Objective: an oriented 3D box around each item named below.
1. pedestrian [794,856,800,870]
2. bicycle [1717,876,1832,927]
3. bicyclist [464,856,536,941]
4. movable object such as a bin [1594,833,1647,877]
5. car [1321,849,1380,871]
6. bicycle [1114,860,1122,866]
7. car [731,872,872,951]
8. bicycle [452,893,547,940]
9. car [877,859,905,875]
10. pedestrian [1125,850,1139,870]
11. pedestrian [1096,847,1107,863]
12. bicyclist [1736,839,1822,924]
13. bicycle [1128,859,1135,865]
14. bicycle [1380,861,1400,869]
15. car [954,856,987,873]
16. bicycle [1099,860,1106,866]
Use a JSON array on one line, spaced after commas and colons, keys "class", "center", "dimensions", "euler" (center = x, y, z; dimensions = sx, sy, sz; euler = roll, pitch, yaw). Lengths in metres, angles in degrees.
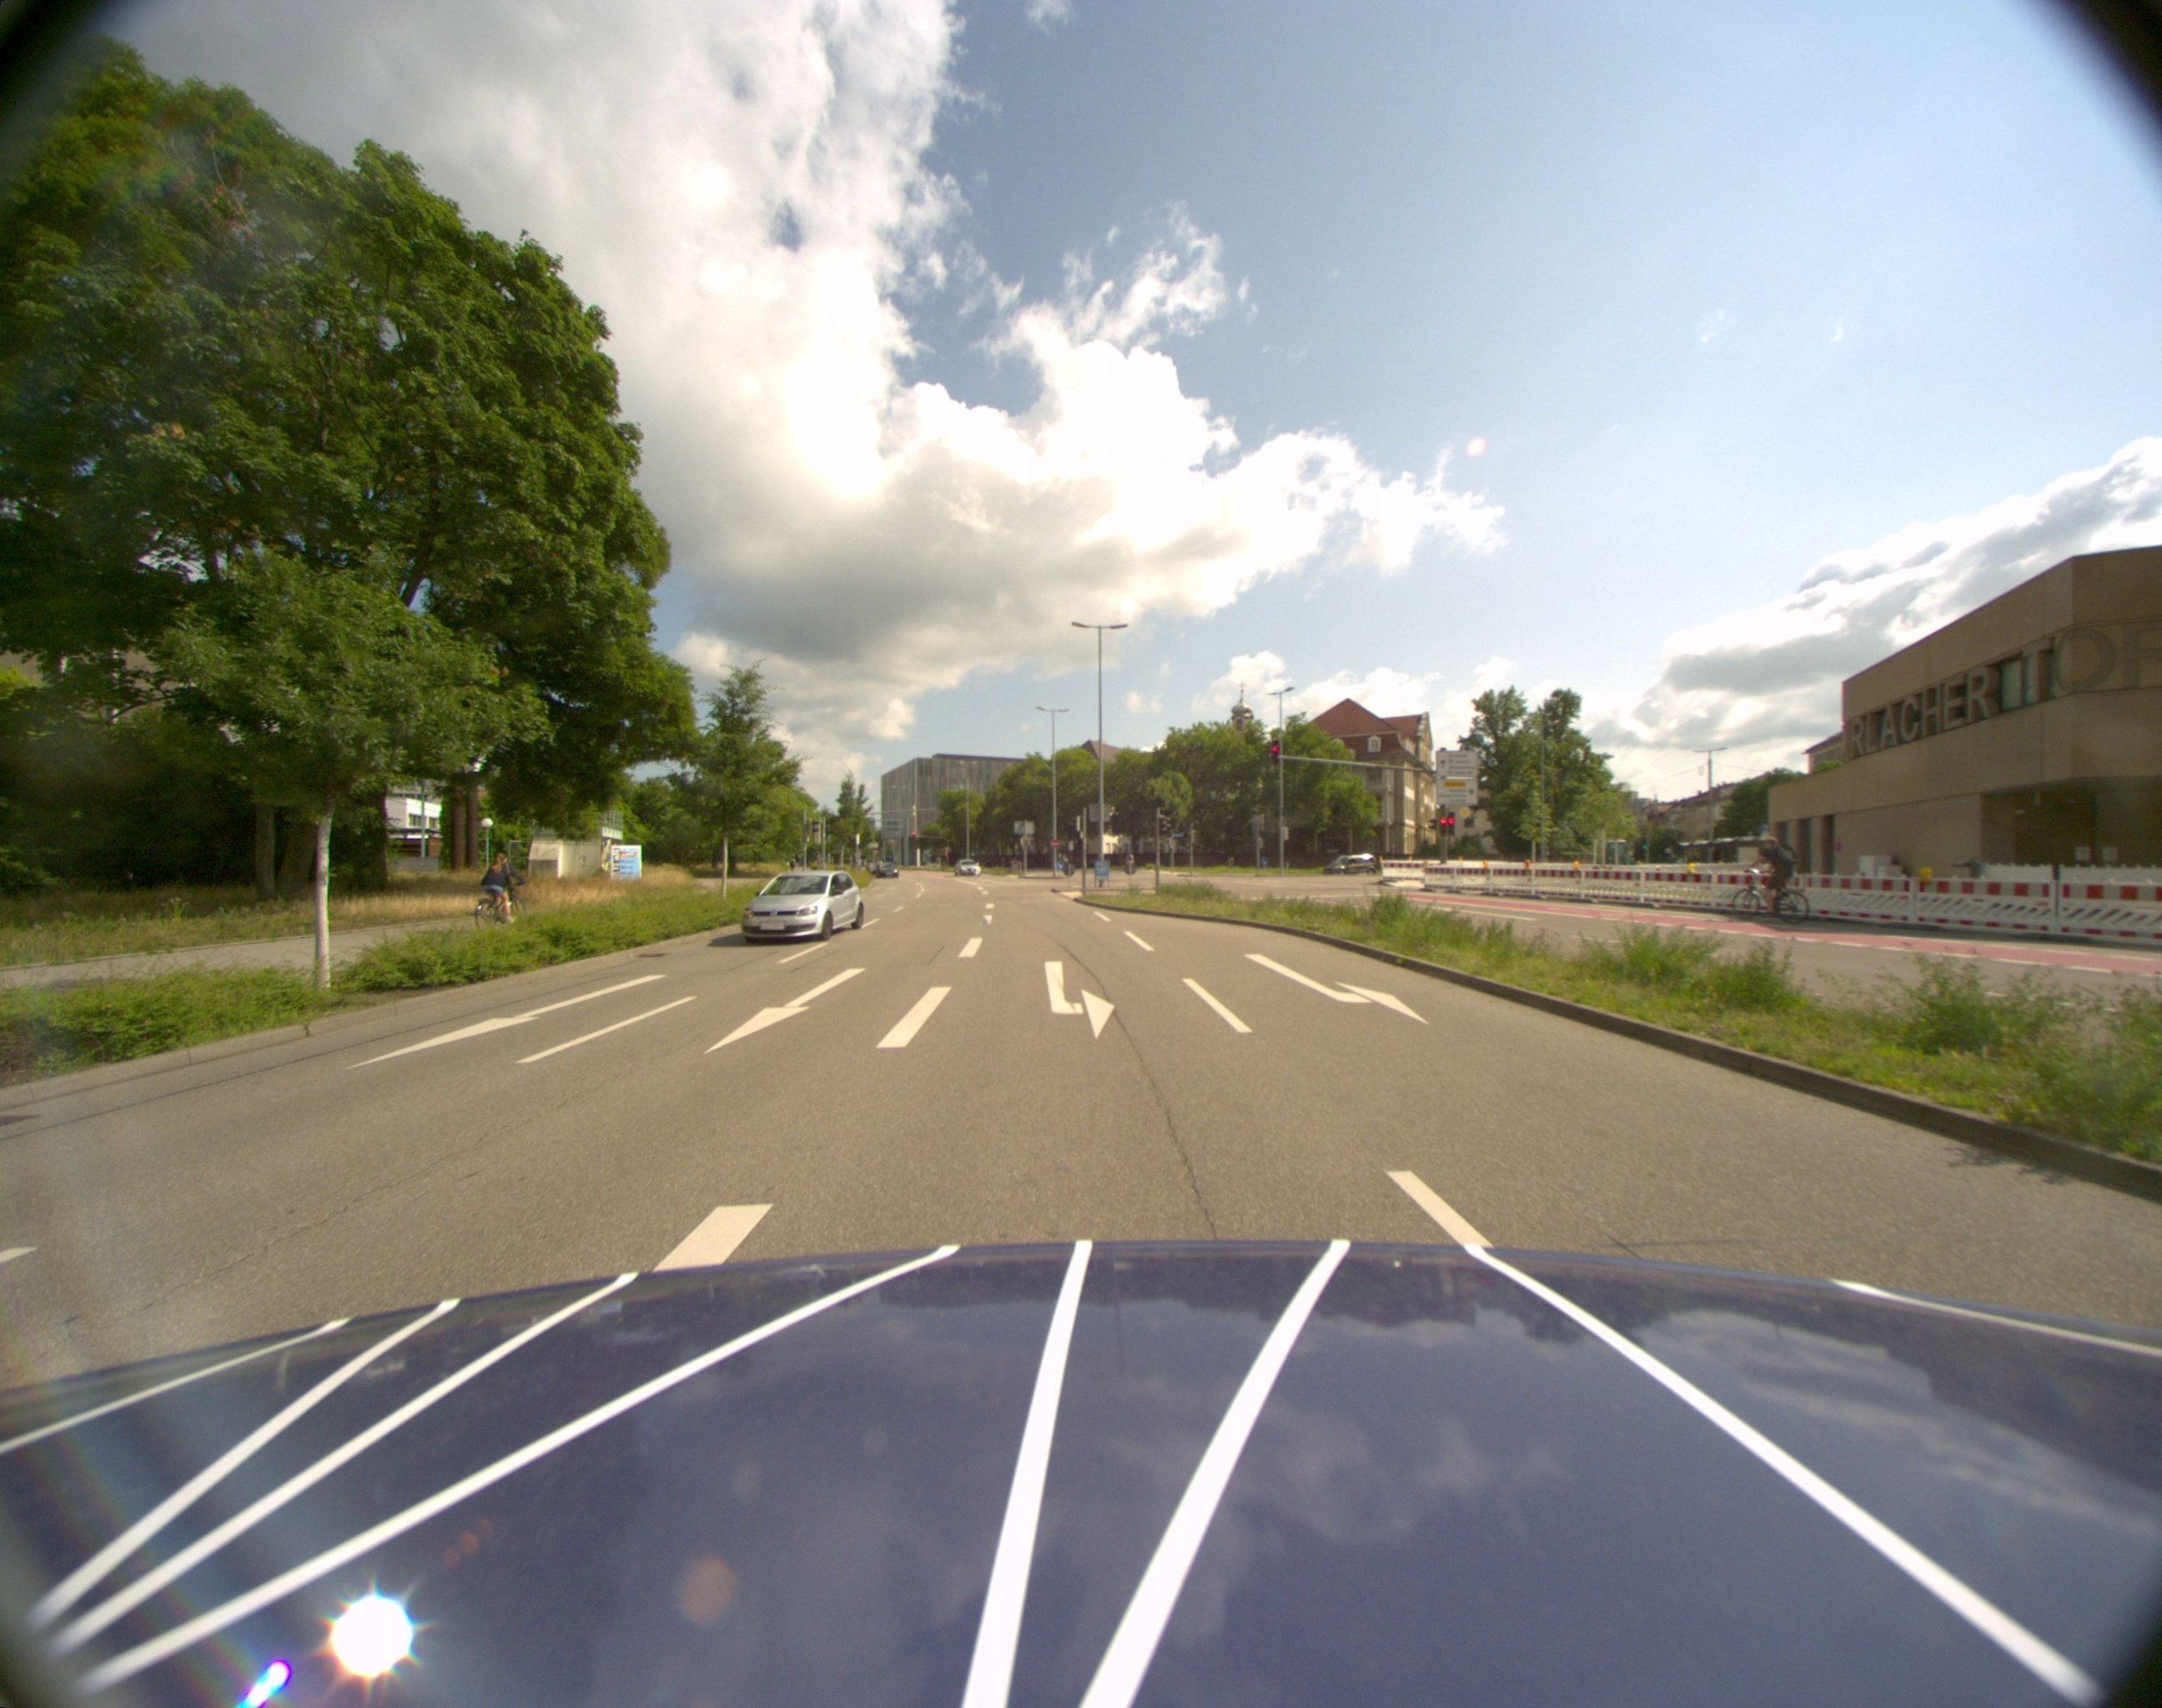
[{"class": "pedestrian", "center": [-33.362, 1.086, 89.206], "dimensions": [0.543, 1.597, 0.523], "euler": [0, -2, -28]}, {"class": "bicycle", "center": [15.389, 1.022, 16.944], "dimensions": [0.618, 0.996, 2.017], "euler": [-1, 0, -4]}, {"class": "bicyclist", "center": [-12.074, 0.896, 15.811], "dimensions": [0.738, 1.692, 0.965], "euler": [1, 0, -1]}, {"class": "movable object such as a bin", "center": [37.597, 0.051, 53.034], "dimensions": [1.995, 2.932, 4.458], "euler": [1, 0, 22]}, {"class": "car", "center": [22.618, 0.542, 63.779], "dimensions": [4.677, 1.774, 1.851], "euler": [0, -1, -23]}, {"class": "bicycle", "center": [5.280, 1.271, 108.384], "dimensions": [0.481, 0.843, 0.975], "euler": [1, 0, 44]}, {"class": "car", "center": [-5.949, 1.154, 16.670], "dimensions": [1.655, 1.433, 4.005], "euler": [-1, 0, -1]}, {"class": "bicycle", "center": [-12.085, 1.278, 15.858], "dimensions": [0.626, 0.806, 1.789], "euler": [1, 0, -1]}, {"class": "car", "center": [-16.989, 1.169, 67.984], "dimensions": [2.002, 1.369, 4.153], "euler": [1, 0, -20]}, {"class": "pedestrian", "center": [4.797, 0.547, 71.630], "dimensions": [0.697, 1.846, 1.183], "euler": [-2, -1, 35]}, {"class": "pedestrian", "center": [2.302, 0.134, 85.923], "dimensions": [0.751, 1.770, 0.963], "euler": [-1, 1, -35]}, {"class": "bicyclist", "center": [15.441, 0.585, 16.846], "dimensions": [0.813, 1.812, 1.158], "euler": [-1, 0, -4]}, {"class": "bicycle", "center": [7.042, 1.179, 106.691], "dimensions": [0.481, 0.843, 0.975], "euler": [1, 0, 44]}, {"class": "bicycle", "center": [35.448, 1.249, 87.097], "dimensions": [2.056, 0.856, 0.860], "euler": [0, 2, 19]}, {"class": "car", "center": [-10.257, 0.967, 70.465], "dimensions": [2.064, 1.434, 4.772], "euler": [-2, 1, -20]}, {"class": "bicycle", "center": [3.195, 1.312, 110.419], "dimensions": [0.481, 0.843, 0.975], "euler": [1, 0, 44]}]
